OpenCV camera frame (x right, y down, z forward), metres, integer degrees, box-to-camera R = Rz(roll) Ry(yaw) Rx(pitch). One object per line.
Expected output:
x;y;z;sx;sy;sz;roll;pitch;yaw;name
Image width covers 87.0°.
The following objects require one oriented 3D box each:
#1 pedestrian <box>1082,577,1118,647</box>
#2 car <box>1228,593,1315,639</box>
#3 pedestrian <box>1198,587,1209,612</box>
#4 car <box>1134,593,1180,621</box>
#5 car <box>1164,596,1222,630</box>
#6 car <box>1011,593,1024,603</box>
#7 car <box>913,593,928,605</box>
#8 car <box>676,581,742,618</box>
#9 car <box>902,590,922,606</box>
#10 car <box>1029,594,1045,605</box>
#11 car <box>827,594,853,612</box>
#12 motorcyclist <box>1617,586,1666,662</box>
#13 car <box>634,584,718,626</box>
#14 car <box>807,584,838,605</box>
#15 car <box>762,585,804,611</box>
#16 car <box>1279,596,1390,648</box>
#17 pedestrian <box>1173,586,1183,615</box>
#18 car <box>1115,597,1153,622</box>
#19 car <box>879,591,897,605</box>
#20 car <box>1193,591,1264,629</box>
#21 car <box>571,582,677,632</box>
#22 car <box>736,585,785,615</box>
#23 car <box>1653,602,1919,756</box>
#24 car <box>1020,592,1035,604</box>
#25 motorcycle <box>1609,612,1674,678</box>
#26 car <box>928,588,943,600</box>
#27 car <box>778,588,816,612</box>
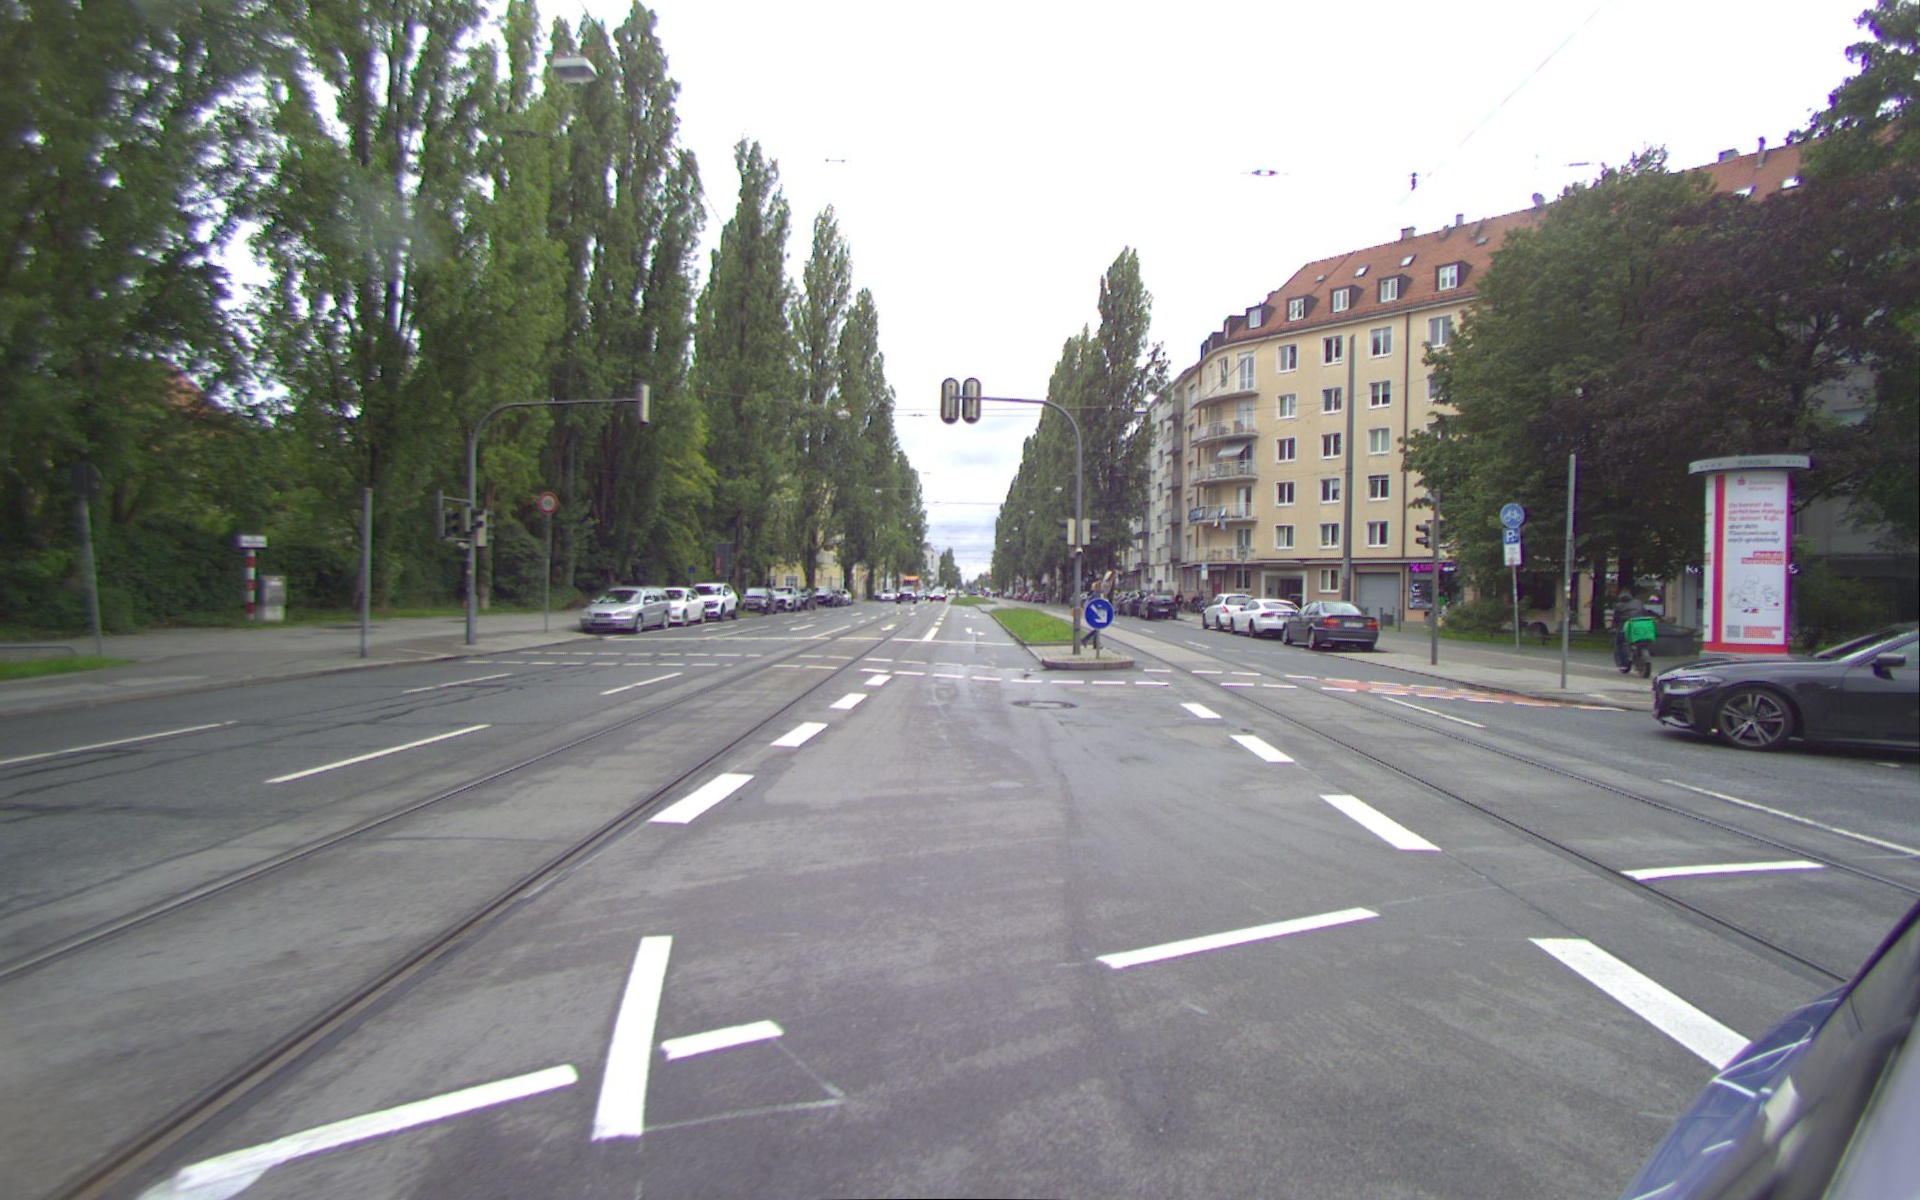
3.405;0.293;24.632;0.690;1.684;0.550;2;-2;-44;pedestrian
10.821;0.507;35.445;1.698;1.425;4.374;1;1;1;car
16.239;-0.026;67.619;0.535;1.686;0.652;1;-2;-4;pedestrian
10.898;0.381;56.323;1.698;1.425;4.474;1;1;1;car
10.747;0.565;47.006;1.698;1.425;4.374;1;1;1;car
10.428;-0.316;183.286;1.961;1.728;4.000;0;-1;-1;car
-5.452;-0.158;139.724;1.753;1.504;4.138;1;1;1;car
-10.725;-0.037;43.475;1.753;1.504;4.138;1;1;1;car
-4.723;-0.182;100.066;1.753;1.504;4.138;1;1;1;car
10.746;-0.045;141.324;1.783;1.489;4.000;0;-1;-1;car
-10.640;0.230;90.244;1.753;1.504;4.138;1;1;1;car
13.335;0.453;19.818;0.613;1.461;0.875;0;0;21;motorcyclist
-10.729;0.145;38.522;1.754;1.504;4.255;1;1;4;car
-10.651;-0.442;78.467;1.753;1.504;4.138;1;1;1;car
-10.686;-0.132;61.393;1.753;1.504;4.138;1;1;1;car
10.644;0.574;29.075;1.698;1.332;3.999;1;1;1;car
15.327;0.058;71.041;0.535;2.040;0.631;1;-2;-4;pedestrian
11.072;0.586;64.590;1.698;1.425;4.207;1;1;1;car
-8.283;-0.265;116.707;1.753;1.504;4.138;1;1;1;car
10.750;0.365;40.819;1.698;1.425;4.374;1;1;1;car
-10.796;0.183;32.849;1.754;1.504;4.349;1;1;3;car
-10.646;-0.042;54.372;1.753;1.504;4.138;1;1;1;car
9.863;0.784;10.119;4.765;1.407;1.709;2;1;34;car
10.165;-0.252;152.181;1.783;1.740;4.000;0;-1;-1;car
13.360;0.847;19.892;0.623;1.184;2.015;-1;0;21;motorcycle
-3.013;-0.743;124.848;1.753;1.504;4.138;1;1;1;car
-10.713;-0.029;66.794;1.753;1.504;4.138;1;1;1;car
